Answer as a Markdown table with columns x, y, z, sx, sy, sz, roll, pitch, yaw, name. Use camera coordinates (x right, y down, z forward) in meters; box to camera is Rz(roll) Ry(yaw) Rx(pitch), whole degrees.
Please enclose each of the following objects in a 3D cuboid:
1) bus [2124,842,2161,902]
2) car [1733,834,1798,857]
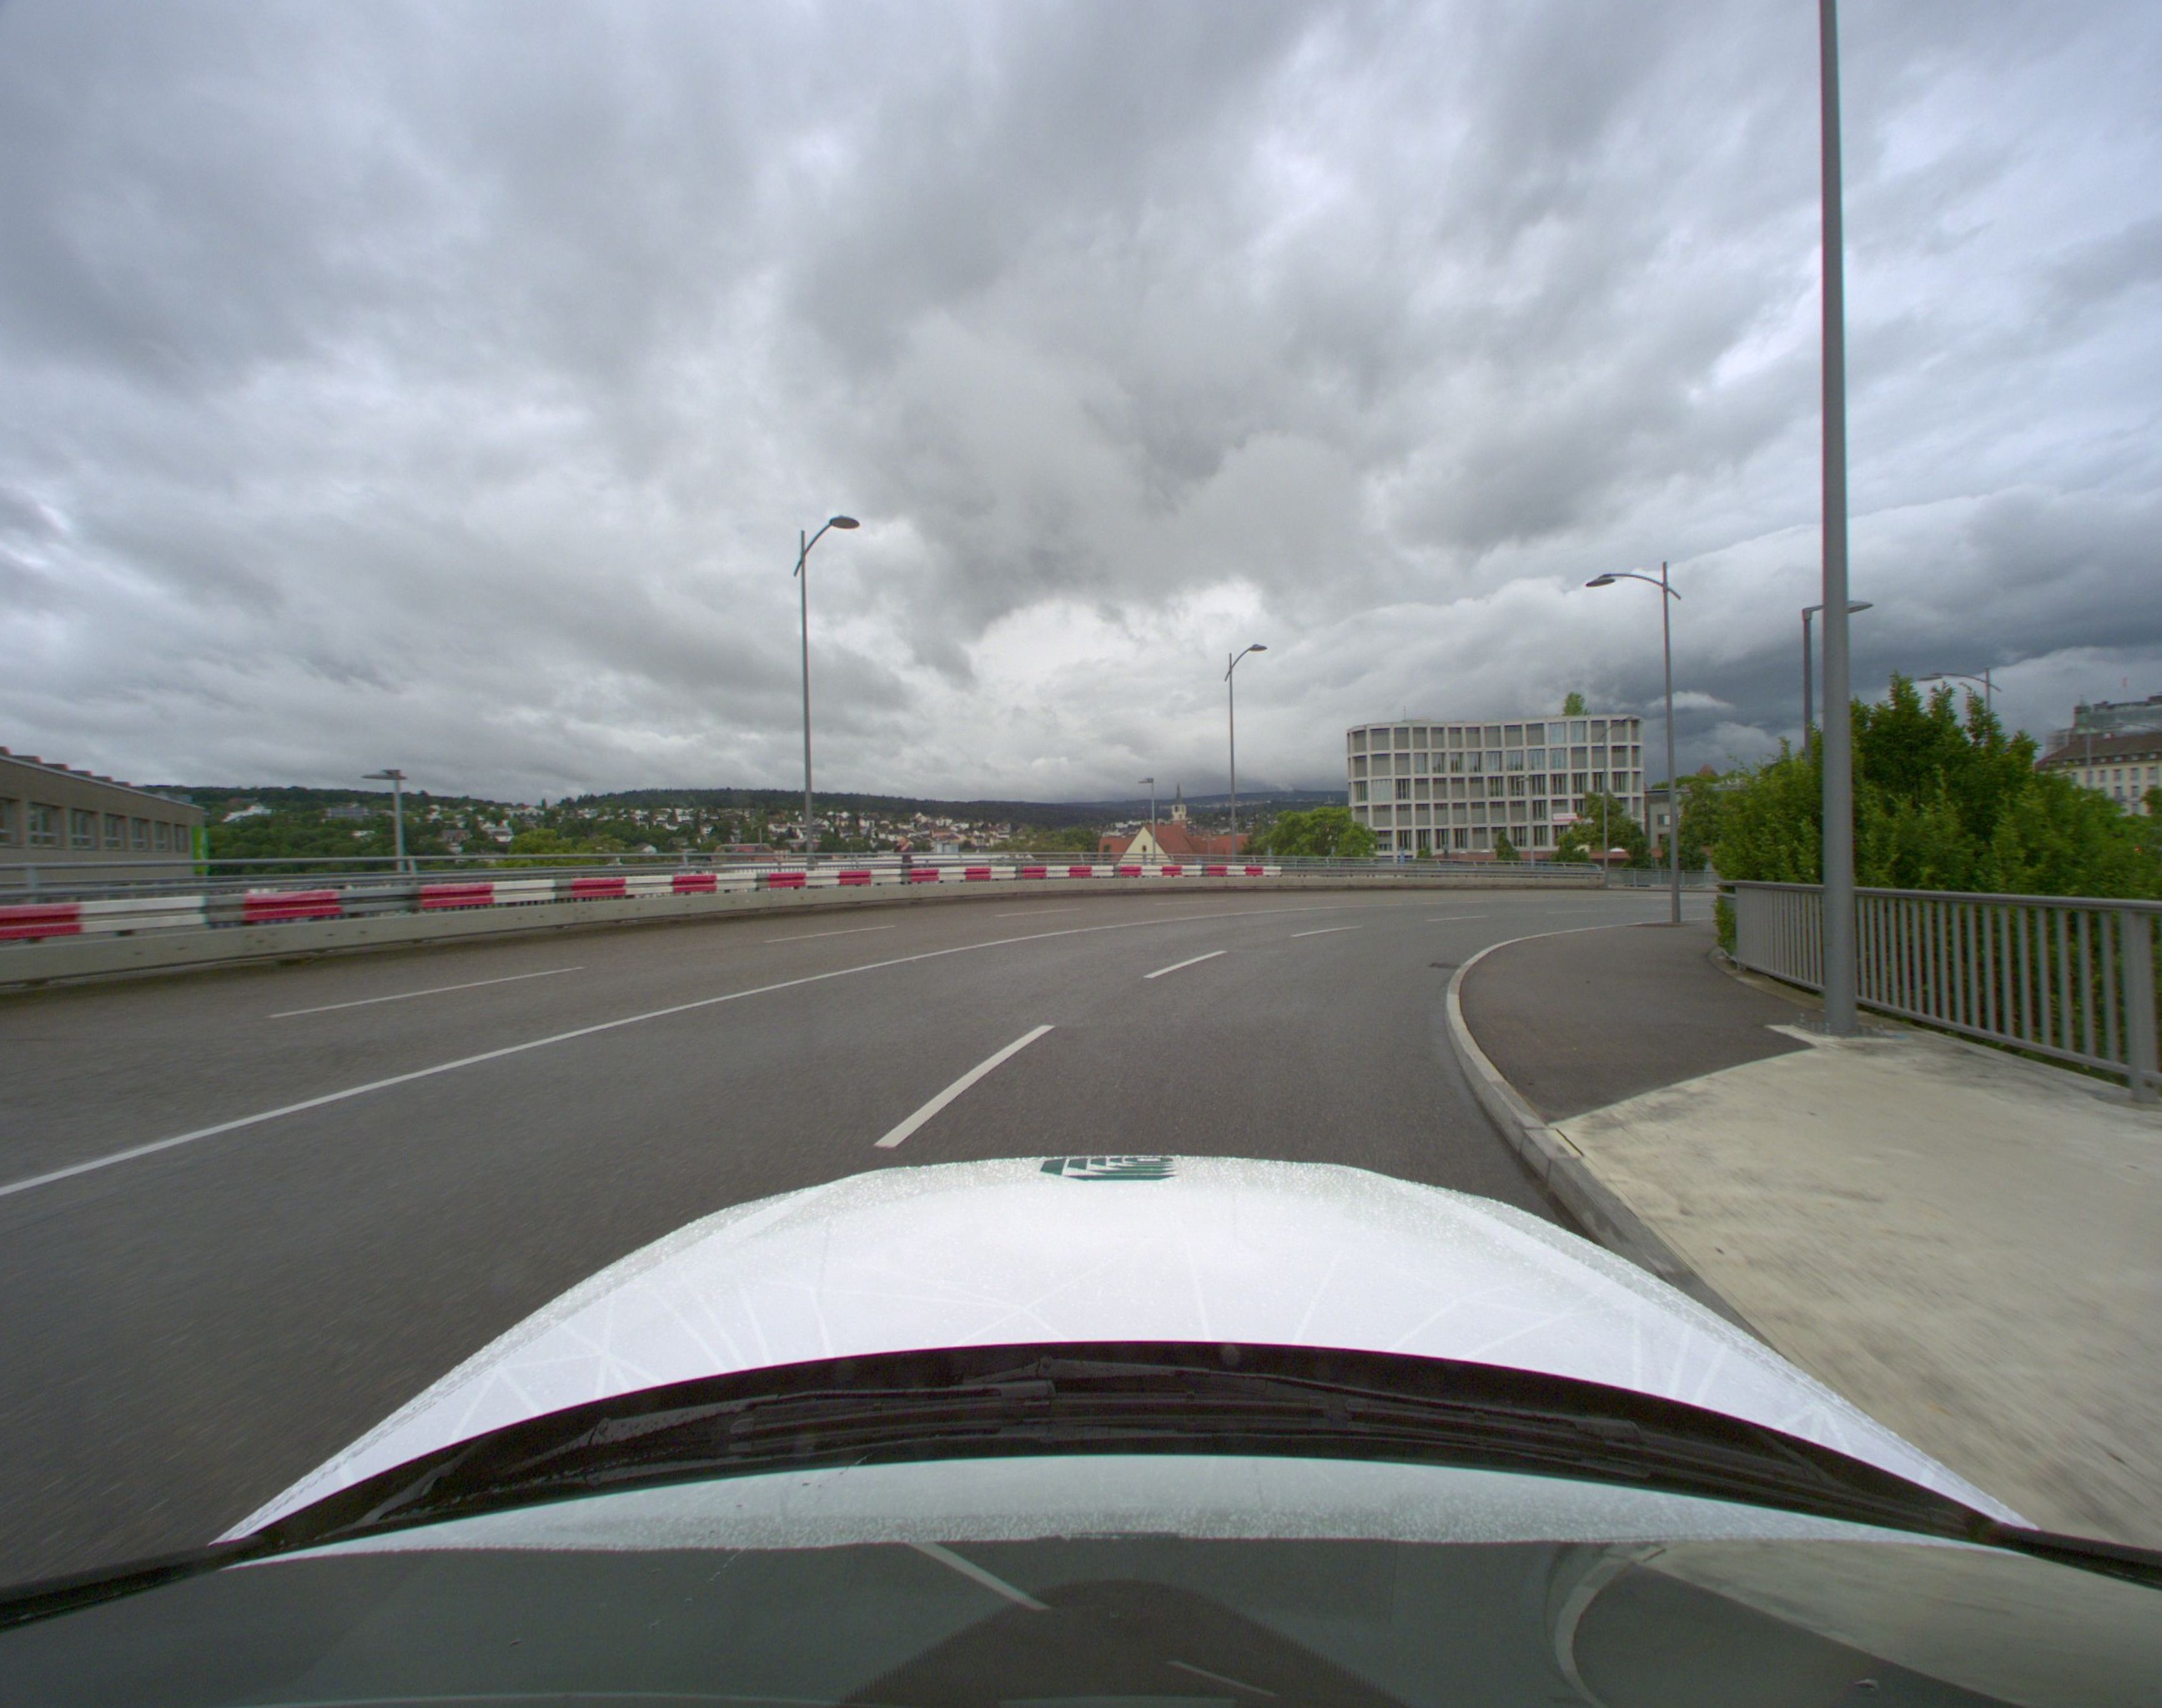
| x | y | z | sx | sy | sz | roll | pitch | yaw | name |
| --- | --- | --- | --- | --- | --- | --- | --- | --- | --- |
| 63.216 | 1.041 | 46.241 | 10.327 | 3.189 | 2.813 | 1 | 1 | -26 | bus |
| 44.684 | -0.580 | 53.160 | 4.007 | 1.436 | 1.751 | 0 | 2 | -25 | car |
